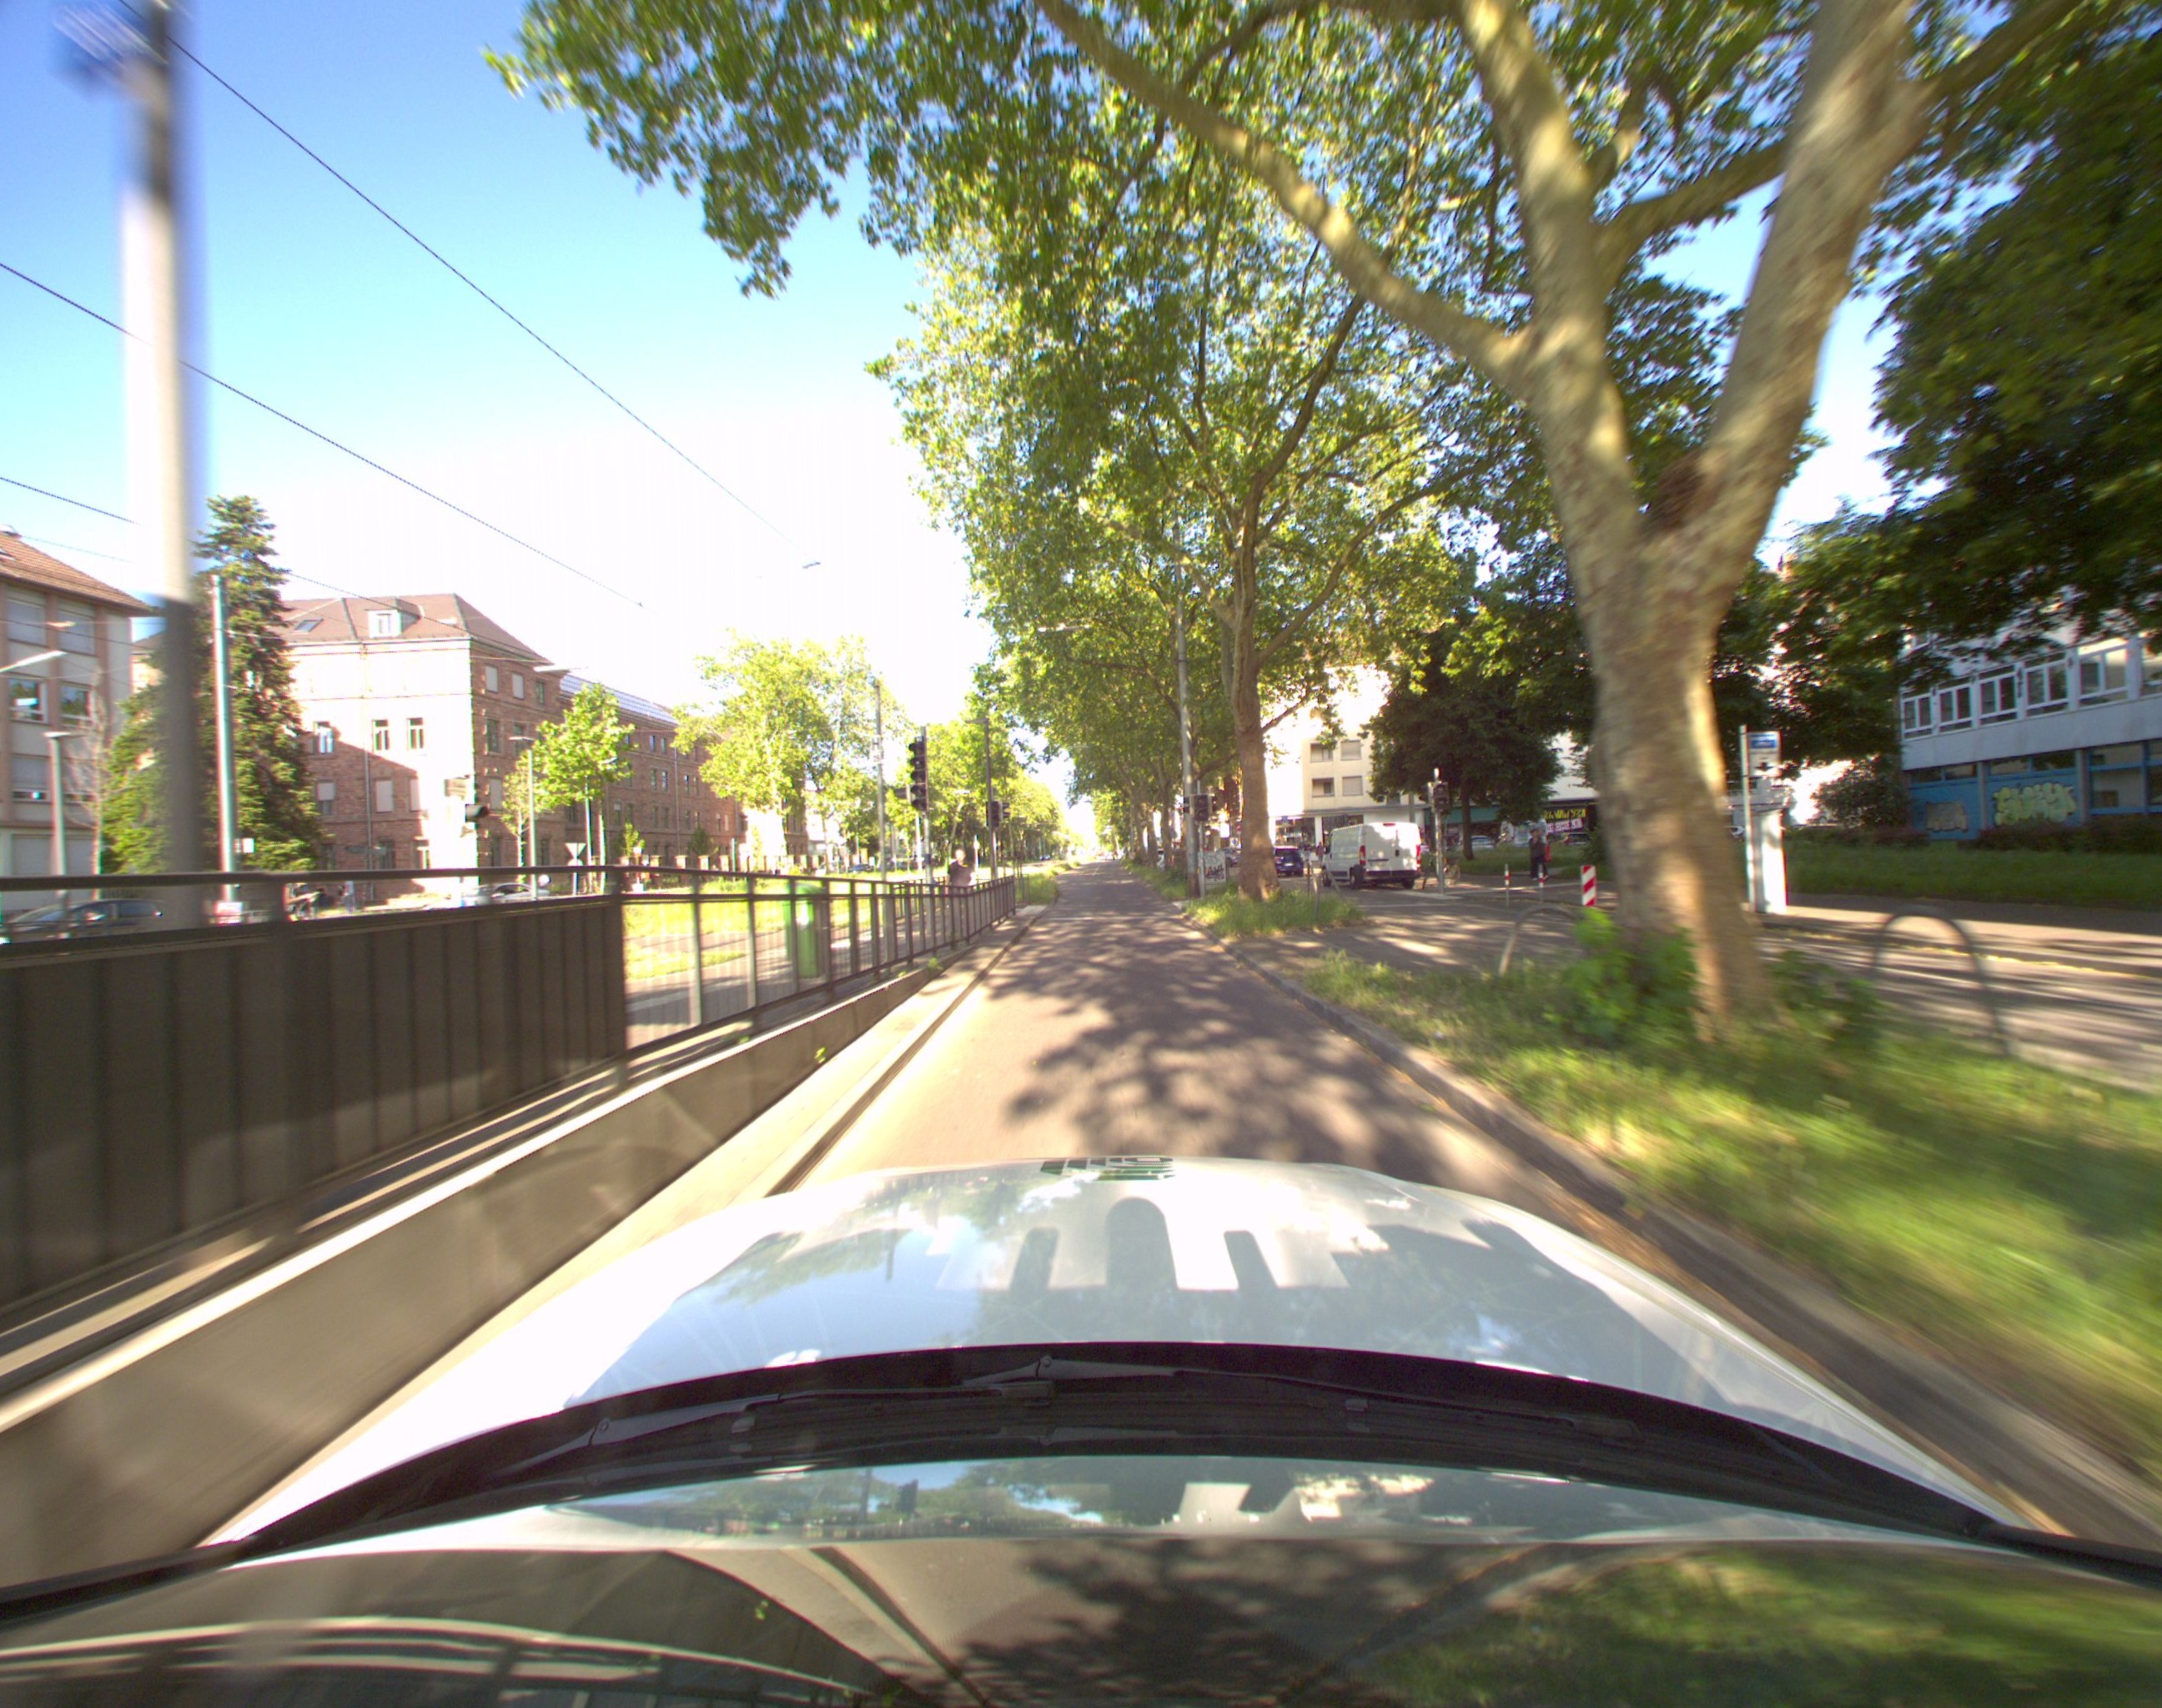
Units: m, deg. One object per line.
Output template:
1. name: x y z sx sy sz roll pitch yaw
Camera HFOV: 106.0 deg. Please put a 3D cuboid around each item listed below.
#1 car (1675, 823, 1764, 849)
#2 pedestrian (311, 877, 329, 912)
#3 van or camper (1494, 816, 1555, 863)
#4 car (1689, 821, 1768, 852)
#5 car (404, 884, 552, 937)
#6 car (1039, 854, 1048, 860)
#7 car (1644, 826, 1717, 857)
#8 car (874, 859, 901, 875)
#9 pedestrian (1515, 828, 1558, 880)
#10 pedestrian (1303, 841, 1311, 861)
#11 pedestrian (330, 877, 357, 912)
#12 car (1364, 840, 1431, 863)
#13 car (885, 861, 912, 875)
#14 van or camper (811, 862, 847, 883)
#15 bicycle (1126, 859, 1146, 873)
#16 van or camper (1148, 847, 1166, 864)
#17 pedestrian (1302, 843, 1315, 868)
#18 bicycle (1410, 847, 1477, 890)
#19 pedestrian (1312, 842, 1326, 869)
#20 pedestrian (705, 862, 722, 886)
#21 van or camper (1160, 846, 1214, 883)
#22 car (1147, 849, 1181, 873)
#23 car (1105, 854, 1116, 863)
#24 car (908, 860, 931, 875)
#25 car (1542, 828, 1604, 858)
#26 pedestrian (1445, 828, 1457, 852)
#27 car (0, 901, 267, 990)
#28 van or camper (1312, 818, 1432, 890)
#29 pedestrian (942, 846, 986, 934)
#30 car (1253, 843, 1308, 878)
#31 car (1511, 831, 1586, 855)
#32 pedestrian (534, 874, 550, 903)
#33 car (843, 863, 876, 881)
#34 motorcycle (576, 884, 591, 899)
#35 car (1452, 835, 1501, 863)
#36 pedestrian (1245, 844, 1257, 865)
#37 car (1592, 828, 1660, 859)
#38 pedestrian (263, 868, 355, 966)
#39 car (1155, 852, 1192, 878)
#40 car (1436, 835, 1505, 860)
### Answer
1. car: 43.740 -1.219 55.866 4.347 1.537 2.009 -2 0 17
2. pedestrian: -37.135 1.985 39.750 0.373 1.695 0.450 -2 0 8
3. van or camper: 26.934 -0.858 49.694 2.130 2.636 5.613 -2 0 17
4. car: 37.223 -0.996 46.966 1.978 1.628 4.409 -2 0 16
5. car: -22.483 2.052 30.611 1.756 1.622 4.485 -2 0 8
6. car: -10.642 0.881 230.827 1.788 1.508 4.342 -5 0 3
7. car: 34.959 -0.704 47.614 1.978 1.628 4.409 -2 0 16
8. car: -23.303 1.572 98.375 1.759 1.719 4.427 -2 0 6
9. pedestrian: 14.451 0.001 25.874 0.729 1.616 1.036 -2 0 2
10. pedestrian: 18.575 -0.243 66.947 0.587 1.650 0.727 -2 0 12
11. pedestrian: -36.709 2.021 40.548 0.682 1.695 0.820 -2 0 -17
12. car: 23.899 -0.174 61.737 4.551 1.581 2.009 -2 0 16
13. car: -23.192 1.734 103.868 1.983 1.615 4.427 -2 0 6
14. van or camper: -23.937 1.697 77.481 1.987 1.787 4.431 -3 0 0
15. bicycle: 4.554 1.014 67.193 1.584 1.058 0.405 -2 0 8
16. van or camper: 9.425 0.168 101.519 1.827 2.098 4.774 0 0 0
17. pedestrian: 16.162 0.101 57.902 0.659 1.728 0.722 -3 0 29
18. bicycle: 11.349 0.441 25.531 1.600 1.263 0.962 -2 0 -3
19. pedestrian: 15.026 0.099 51.455 0.675 1.651 0.907 -2 0 8
20. pedestrian: -31.002 1.685 68.662 0.897 1.899 0.942 -2 0 2
21. van or camper: 4.917 0.492 38.036 1.504 1.588 2.825 -2 0 -15
22. car: 6.247 0.492 61.676 1.897 1.636 4.822 -2 0 -1
23. car: 5.777 0.835 159.738 2.014 1.662 4.001 -2 0 1
24. car: -22.734 1.879 114.858 2.102 1.809 4.737 -3 0 0
25. car: 29.396 -0.645 48.787 1.978 1.669 4.766 -2 0 16
26. pedestrian: 28.335 -1.049 62.361 0.716 1.809 0.692 -2 0 16
27. car: -23.847 2.211 20.655 1.984 1.707 4.155 -2 0 5
28. van or camper: 10.243 0.009 29.292 2.283 2.286 5.824 -2 0 1
29. pedestrian: -2.322 0.703 16.241 0.709 1.680 0.772 -2 0 0
30. car: 10.894 0.327 44.824 1.812 1.742 5.169 -2 0 2
31. car: 33.592 -0.764 58.654 4.347 1.537 2.009 -2 0 17
32. pedestrian: -32.547 2.045 49.181 0.684 1.695 0.876 -2 0 -27
33. car: -23.797 1.926 87.722 1.986 1.649 4.830 -2 0 2
34. motorcycle: -32.198 2.427 52.669 0.333 0.946 1.044 -2 0 -2
35. car: 24.416 -0.311 50.400 1.978 1.628 4.409 -2 0 16
36. pedestrian: 14.199 0.038 68.164 0.792 1.704 0.724 -3 0 2
37. car: 32.281 -0.630 48.378 1.978 1.669 4.766 -2 0 16
38. pedestrian: -14.268 1.146 15.077 0.949 1.736 0.731 -2 0 4
39. car: 5.469 0.607 48.578 1.747 1.398 5.028 -2 0 2
40. car: 28.714 -0.477 60.163 4.347 1.644 2.009 -2 0 17
